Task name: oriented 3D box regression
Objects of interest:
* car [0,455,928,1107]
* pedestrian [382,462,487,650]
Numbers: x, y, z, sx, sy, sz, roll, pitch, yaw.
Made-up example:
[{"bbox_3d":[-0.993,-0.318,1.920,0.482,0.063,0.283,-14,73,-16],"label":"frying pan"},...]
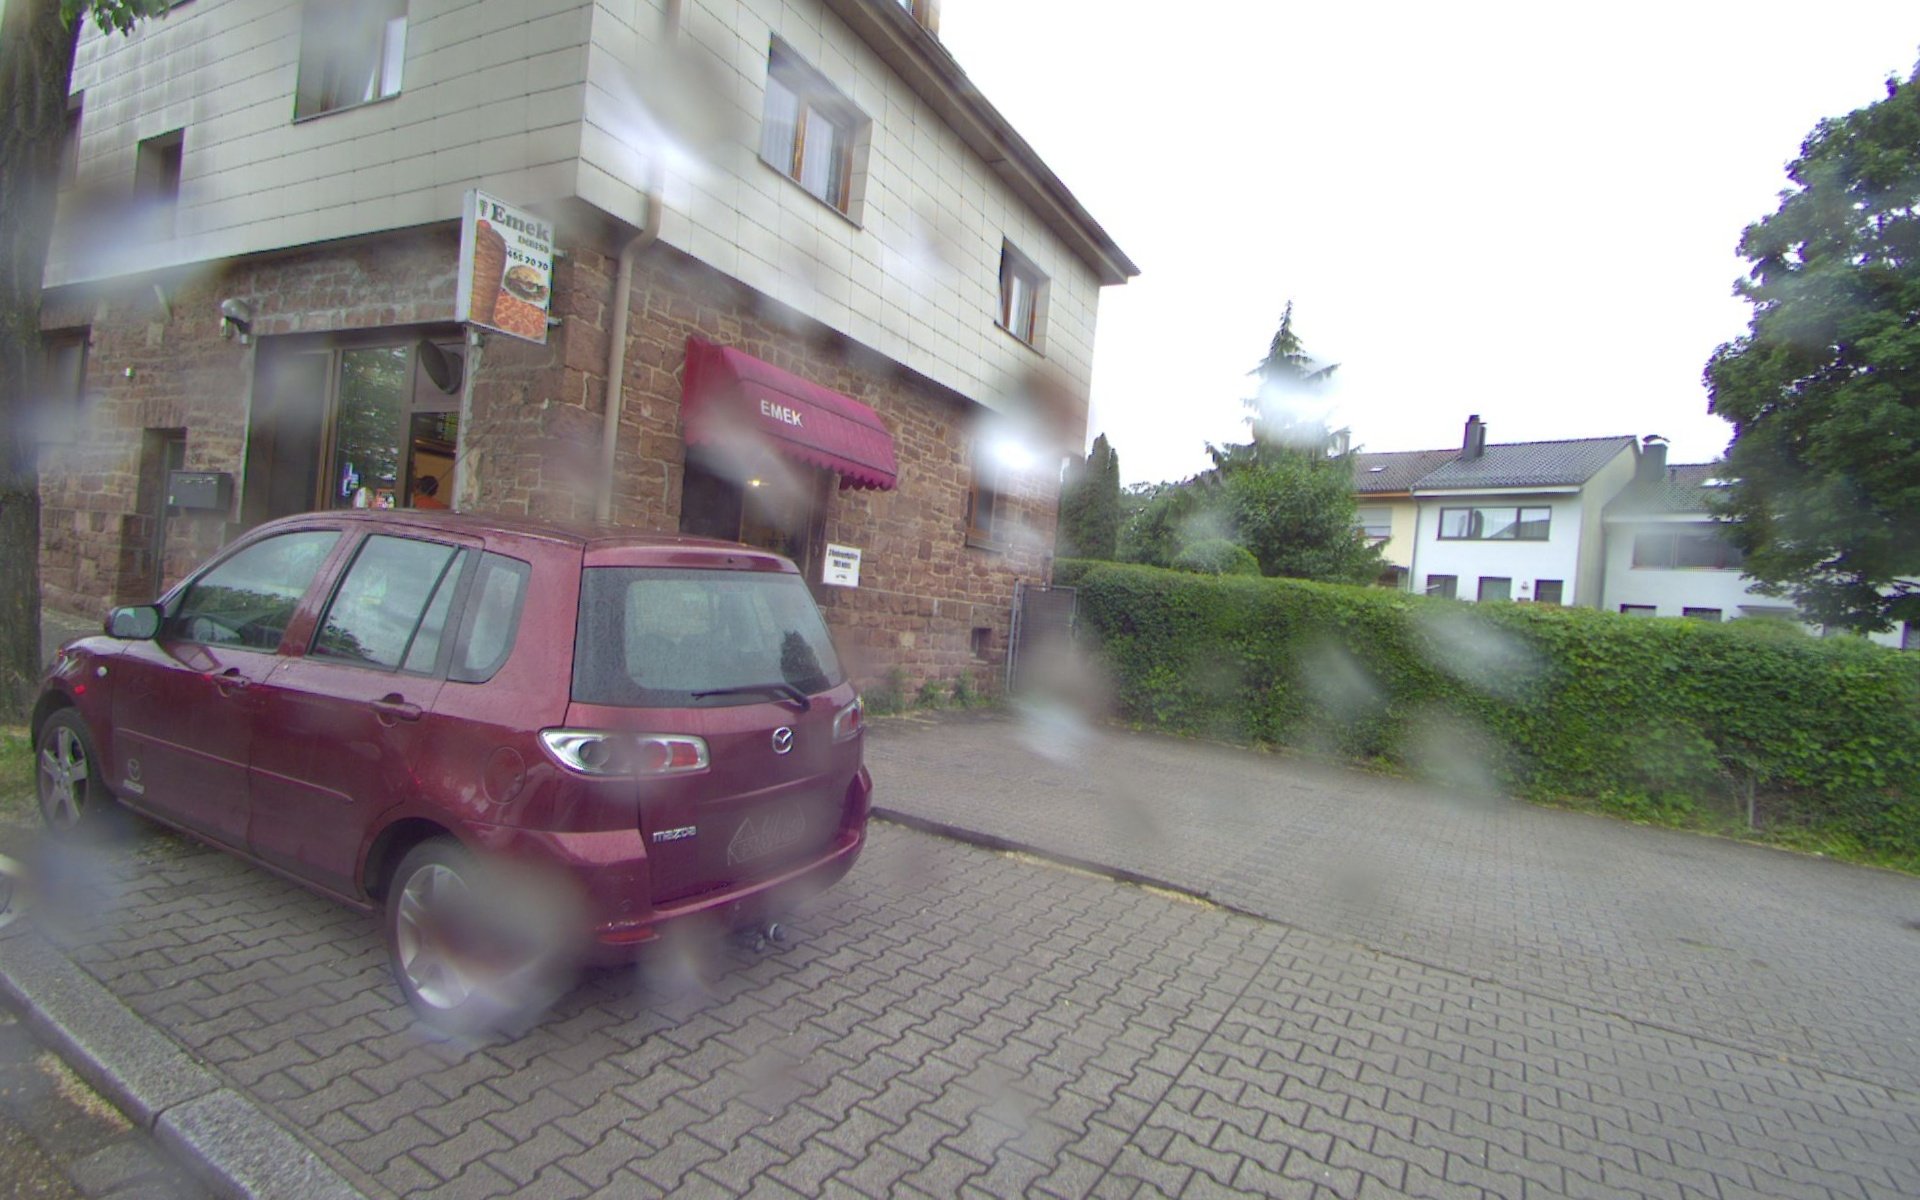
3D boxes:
[{"bbox_3d":[-2.124,0.359,4.087,3.565,1.511,1.585,7,3,29],"label":"car"},{"bbox_3d":[-5.500,-0.446,10.539,0.475,1.862,0.638,7,0,31],"label":"pedestrian"}]
